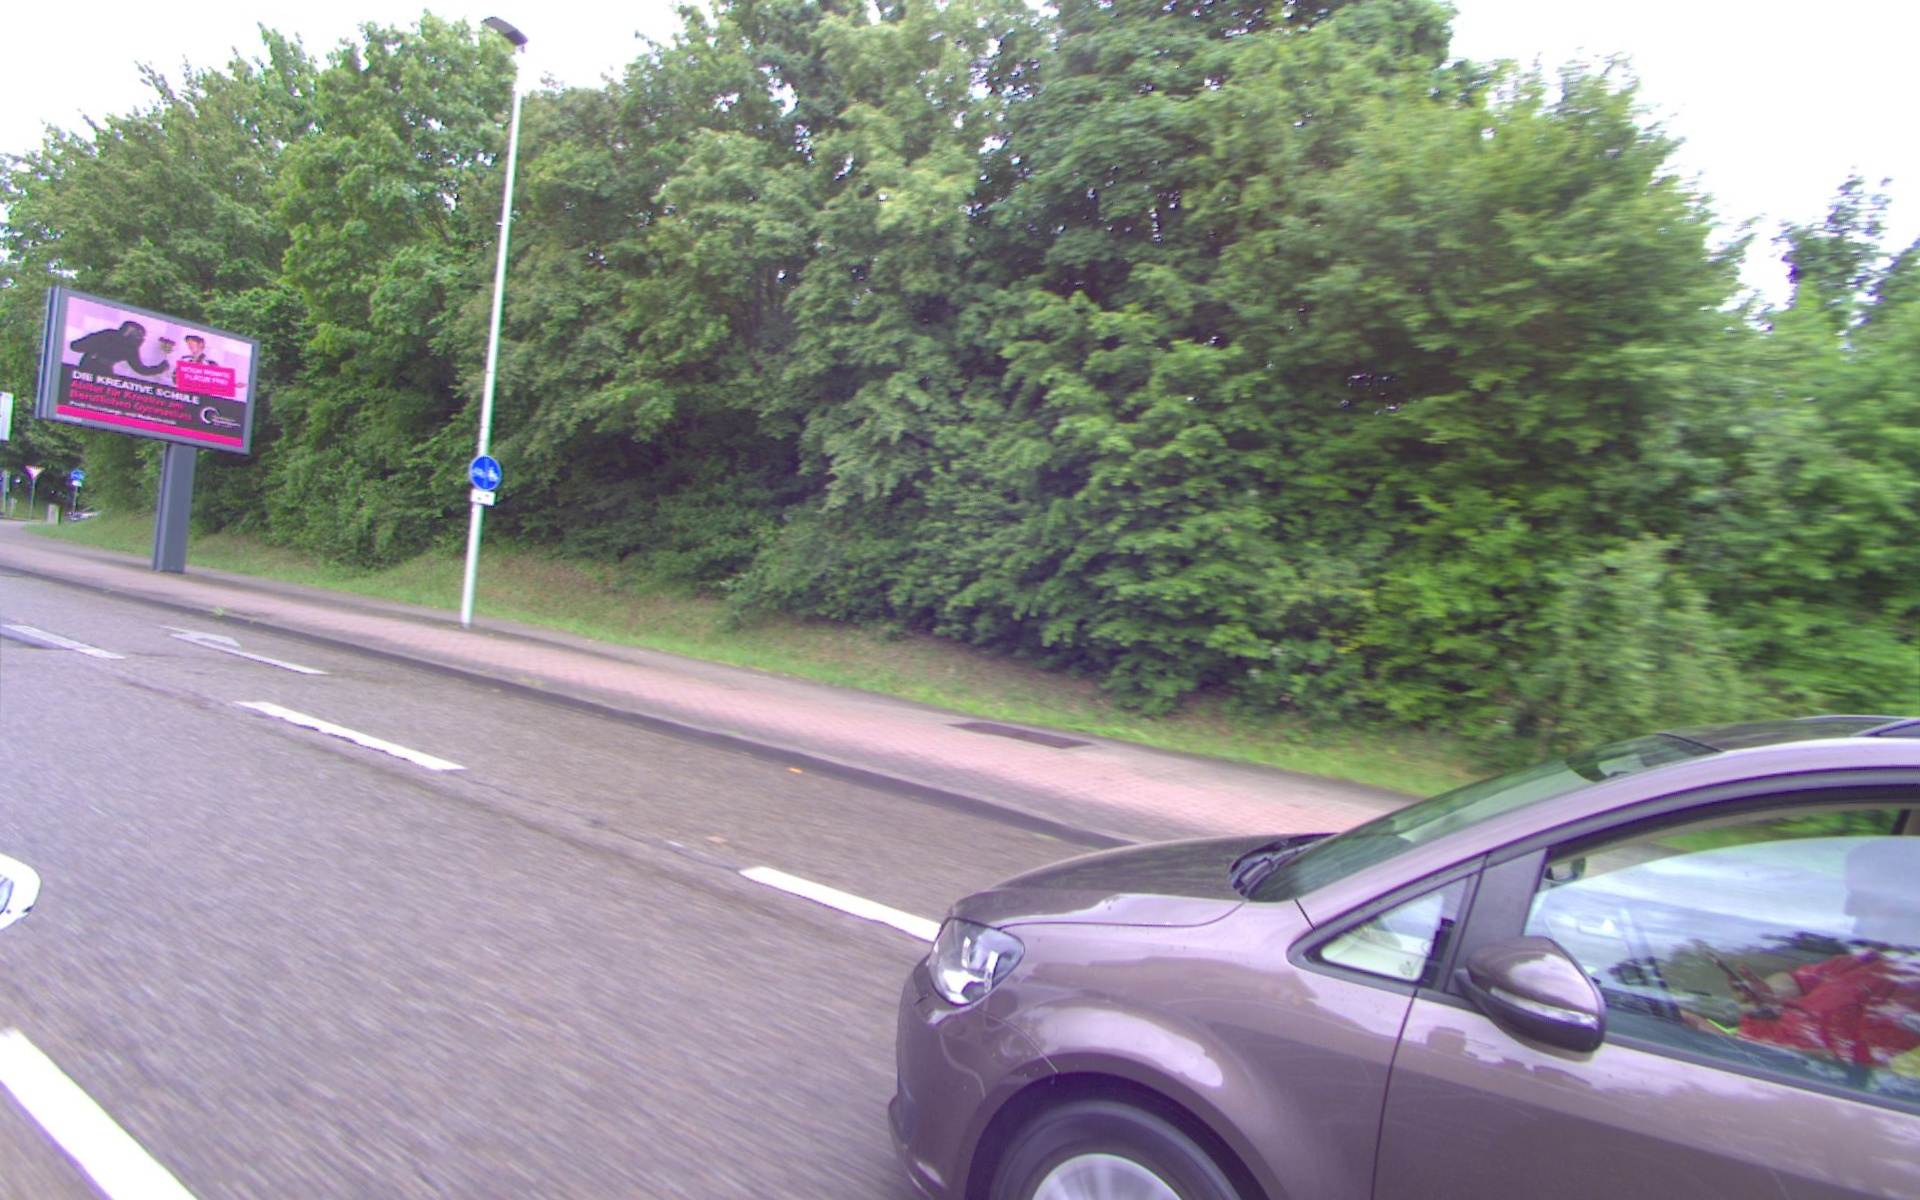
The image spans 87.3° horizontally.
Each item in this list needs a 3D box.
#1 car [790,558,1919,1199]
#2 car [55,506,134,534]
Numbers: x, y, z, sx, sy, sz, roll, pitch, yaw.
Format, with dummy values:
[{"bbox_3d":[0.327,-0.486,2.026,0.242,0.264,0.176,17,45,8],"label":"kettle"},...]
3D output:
[{"bbox_3d":[1.847,1.001,2.007,4.061,1.615,1.717,7,-1,31],"label":"car"},{"bbox_3d":[-63.305,-5.838,73.687,1.865,1.485,4.331,6,-1,1],"label":"car"}]
